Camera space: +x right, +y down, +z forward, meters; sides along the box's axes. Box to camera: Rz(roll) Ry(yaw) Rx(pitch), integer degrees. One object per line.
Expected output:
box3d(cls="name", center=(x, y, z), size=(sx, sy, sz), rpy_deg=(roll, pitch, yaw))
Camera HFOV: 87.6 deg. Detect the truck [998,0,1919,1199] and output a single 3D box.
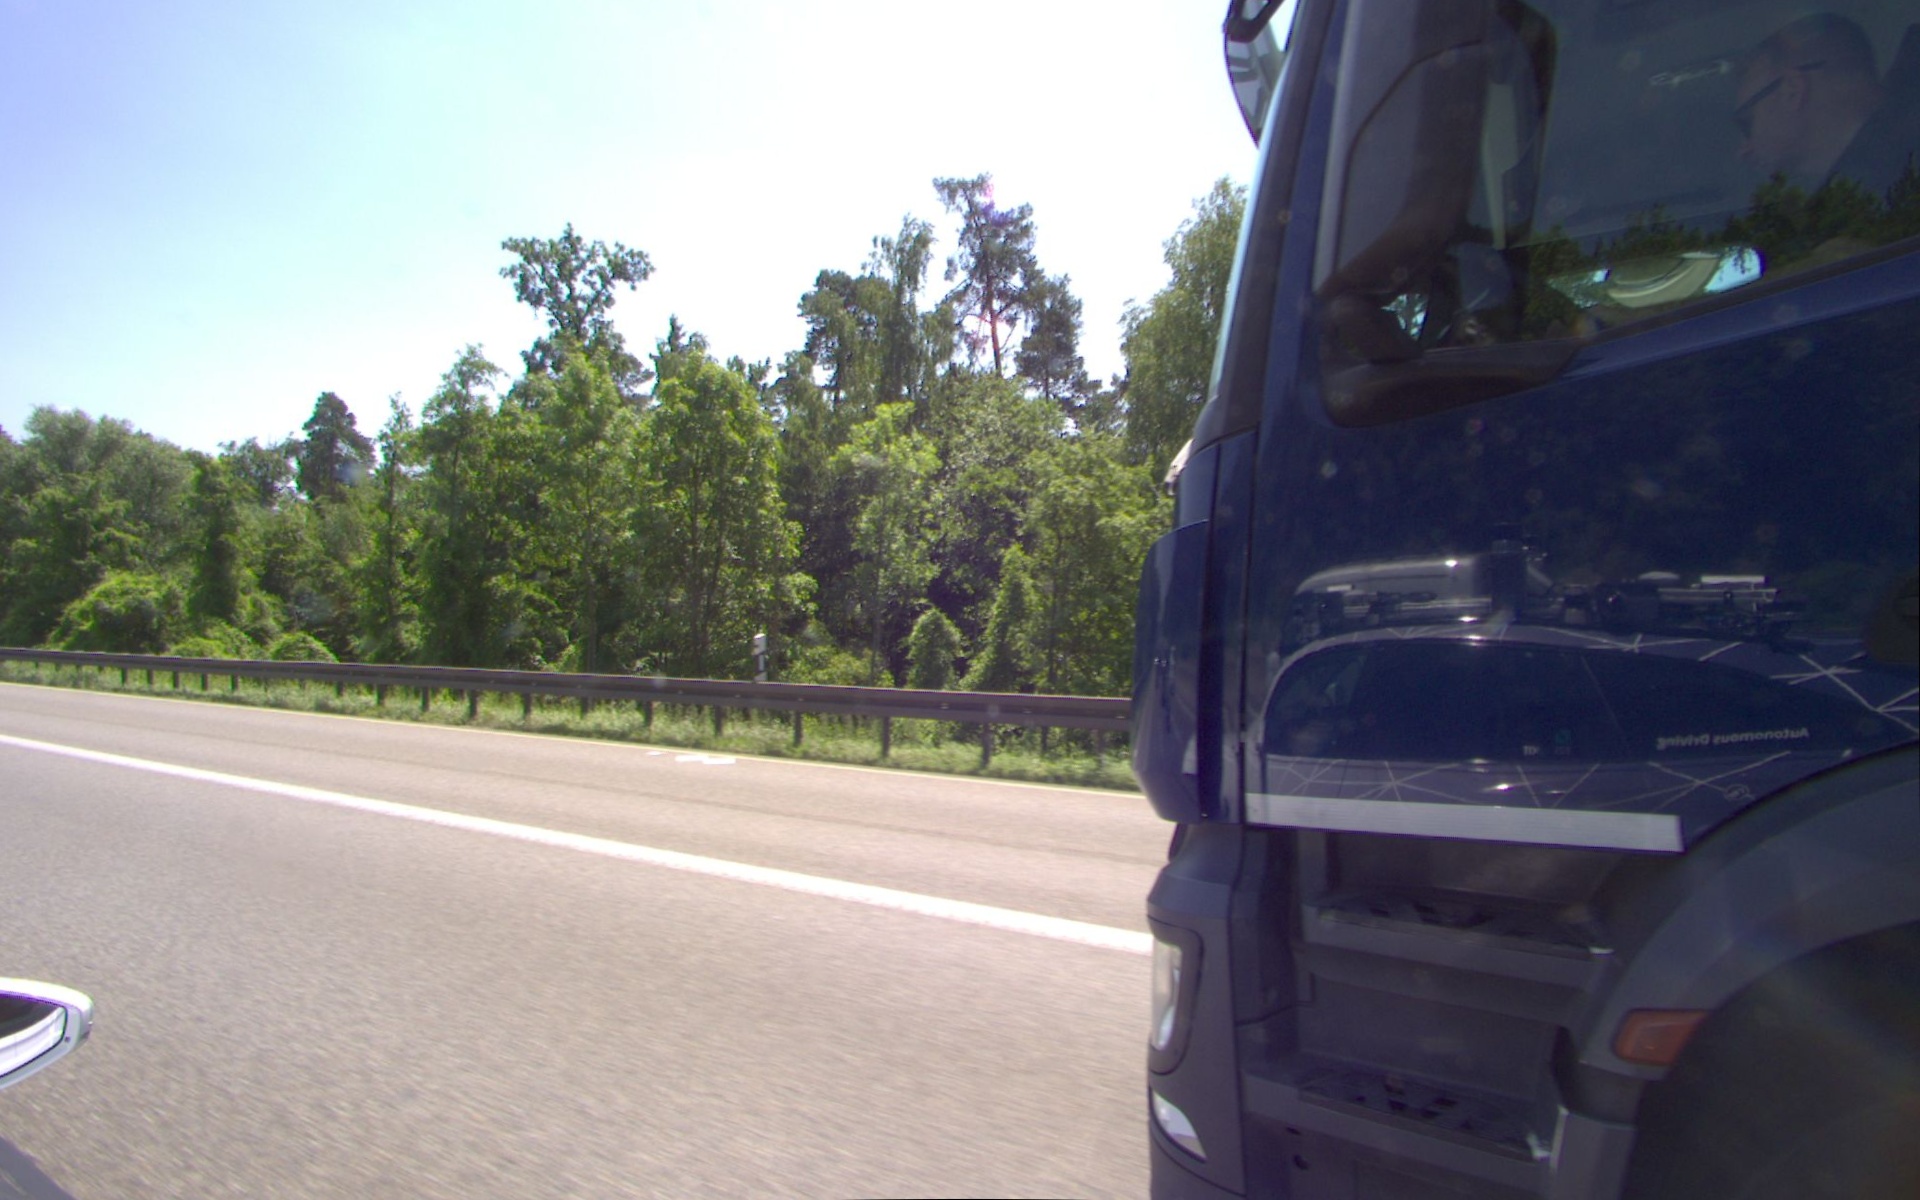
box3d(cls="truck", center=(2.462, 0.008, 1.772), size=(4.045, 2.979, 2.551), rpy_deg=(-2, -1, 32))
